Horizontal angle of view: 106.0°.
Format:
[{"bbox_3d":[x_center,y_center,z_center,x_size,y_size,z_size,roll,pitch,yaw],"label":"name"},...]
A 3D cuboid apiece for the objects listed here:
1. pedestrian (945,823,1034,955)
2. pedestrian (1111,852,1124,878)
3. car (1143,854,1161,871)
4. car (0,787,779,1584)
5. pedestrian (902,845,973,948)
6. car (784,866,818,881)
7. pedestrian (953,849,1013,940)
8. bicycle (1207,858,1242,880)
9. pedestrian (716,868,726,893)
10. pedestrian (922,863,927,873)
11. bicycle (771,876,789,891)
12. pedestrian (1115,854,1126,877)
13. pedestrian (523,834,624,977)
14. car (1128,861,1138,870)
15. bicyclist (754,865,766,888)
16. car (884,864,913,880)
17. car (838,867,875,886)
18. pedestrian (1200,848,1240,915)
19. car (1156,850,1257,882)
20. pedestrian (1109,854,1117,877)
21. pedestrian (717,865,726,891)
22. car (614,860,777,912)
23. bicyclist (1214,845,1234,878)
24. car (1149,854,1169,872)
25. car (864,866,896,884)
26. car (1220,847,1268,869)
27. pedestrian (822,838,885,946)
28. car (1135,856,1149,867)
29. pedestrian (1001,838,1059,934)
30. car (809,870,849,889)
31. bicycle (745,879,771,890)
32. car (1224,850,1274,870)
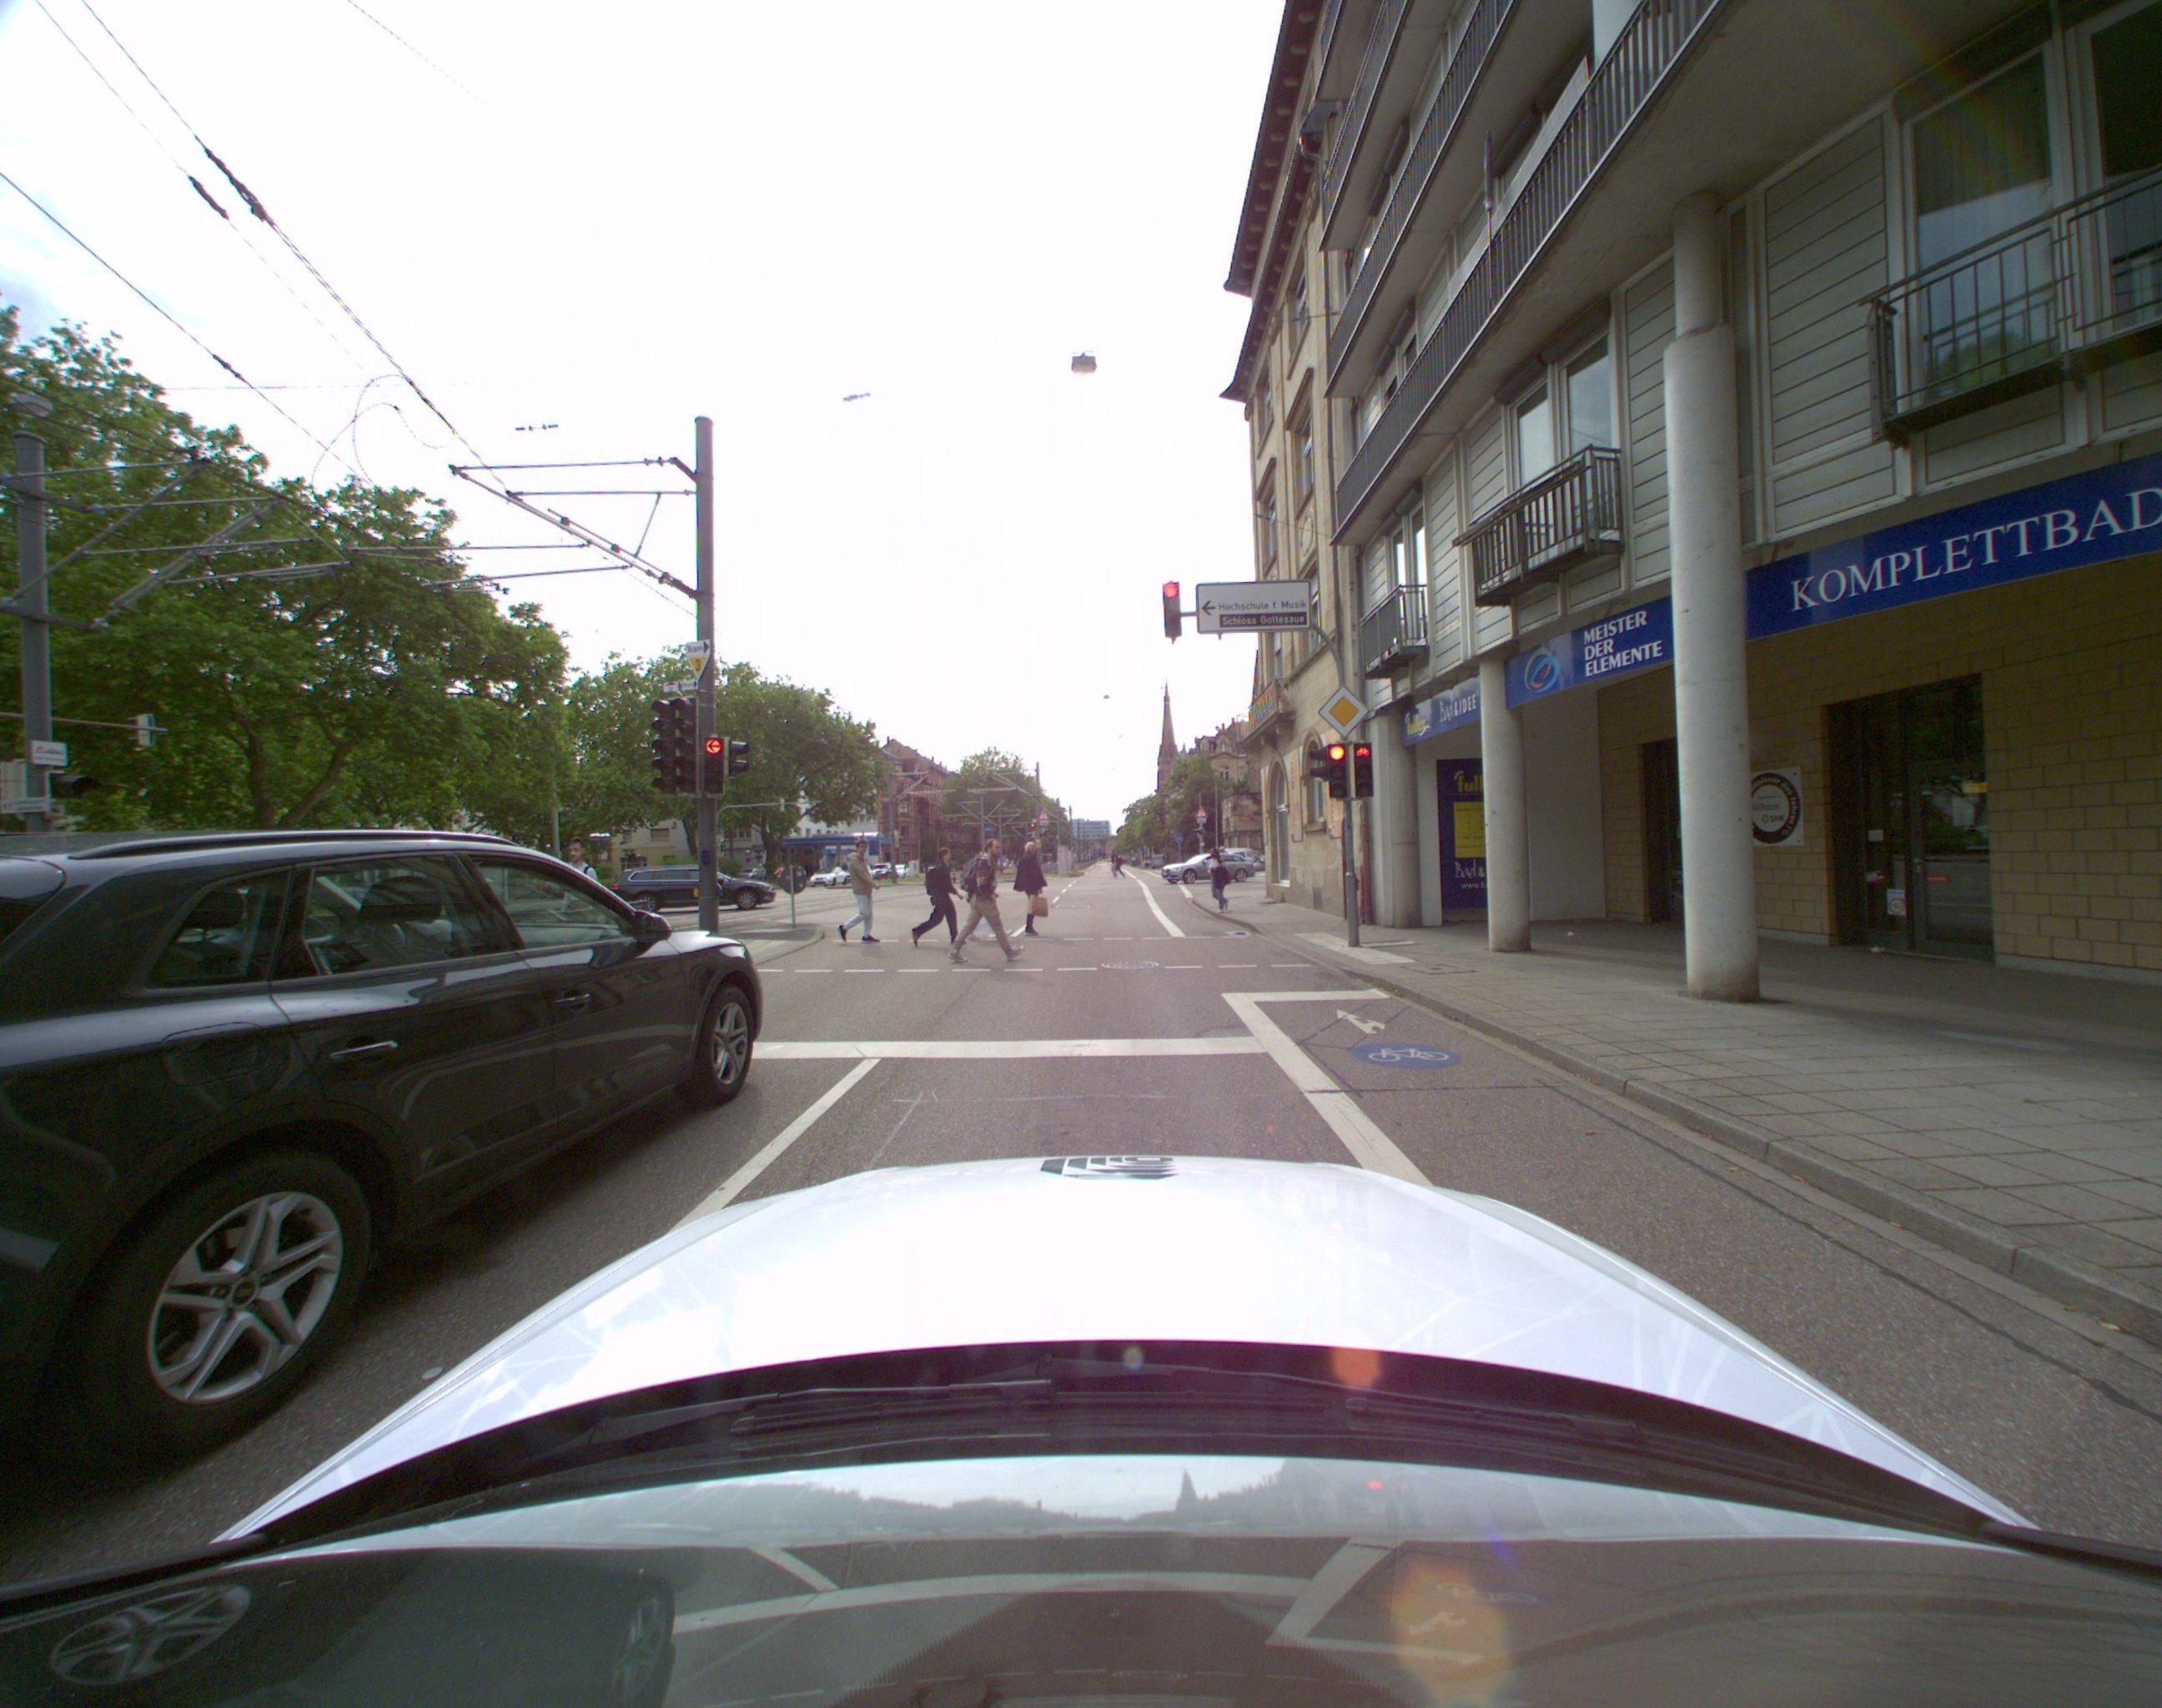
[{"bbox_3d":[-1.303,0.477,11.526,1.132,1.778,0.625,-1,-1,-16],"label":"pedestrian"},{"bbox_3d":[2.346,0.719,52.420,0.848,1.654,0.508,0,-1,-1],"label":"pedestrian"},{"bbox_3d":[8.849,1.063,101.970,1.986,2.014,4.001,0,-1,1],"label":"car"},{"bbox_3d":[-3.084,0.694,3.481,1.873,1.601,4.358,-1,0,1],"label":"car"},{"bbox_3d":[-2.400,0.688,13.658,0.620,1.652,1.003,-1,-1,39],"label":"pedestrian"},{"bbox_3d":[-28.715,1.968,83.650,1.986,1.530,4.001,0,0,2],"label":"car"},{"bbox_3d":[-1.778,0.719,14.853,0.693,1.593,0.836,-1,-1,39],"label":"pedestrian"},{"bbox_3d":[7.909,0.822,44.792,1.910,1.142,0.623,0,-1,-28],"label":"bicycle"},{"bbox_3d":[-25.082,1.841,56.728,0.370,1.784,0.555,-1,-1,33],"label":"pedestrian"},{"bbox_3d":[-22.053,1.944,114.986,0.528,1.460,0.447,0,-1,-44],"label":"pedestrian"},{"bbox_3d":[-21.419,2.063,57.933,0.520,1.017,1.937,0,-1,2],"label":"bicycle"},{"bbox_3d":[2.648,0.761,54.399,0.651,1.537,0.465,0,-1,-3],"label":"pedestrian"},{"bbox_3d":[-6.160,0.606,9.918,0.751,1.661,0.730,0,-1,1],"label":"pedestrian"},{"bbox_3d":[11.025,2.452,174.472,1.986,2.014,4.001,0,-1,2],"label":"car"},{"bbox_3d":[-22.788,1.603,57.756,0.585,1.567,0.619,0,-1,1],"label":"bicyclist"},{"bbox_3d":[-18.377,1.798,82.154,1.887,1.557,3.837,0,0,2],"label":"car"},{"bbox_3d":[-18.779,1.864,68.267,1.887,1.557,3.837,0,0,2],"label":"car"},{"bbox_3d":[3.592,0.699,21.040,0.663,1.680,0.874,-1,-1,40],"label":"pedestrian"},{"bbox_3d":[6.274,0.599,40.722,4.734,1.510,1.826,0,-1,-20],"label":"car"},{"bbox_3d":[2.152,0.767,54.872,0.544,1.537,0.465,0,-1,-3],"label":"pedestrian"},{"bbox_3d":[-25.030,1.673,56.717,0.370,1.784,0.452,-1,-1,34],"label":"pedestrian"},{"bbox_3d":[-11.881,0.947,25.441,4.448,1.510,1.825,0,-1,-21],"label":"car"},{"bbox_3d":[7.873,0.408,44.790,0.970,1.819,0.527,0,-1,-27],"label":"bicyclist"},{"bbox_3d":[8.796,0.992,92.531,1.986,2.014,4.001,0,-1,1],"label":"car"},{"bbox_3d":[-18.553,1.915,75.245,1.887,1.557,3.837,0,0,2],"label":"car"},{"bbox_3d":[14.055,0.339,70.480,3.785,1.904,2.001,0,-1,1],"label":"car"},{"bbox_3d":[-3.969,0.644,14.194,1.015,1.813,0.580,0,-1,-22],"label":"pedestrian"},{"bbox_3d":[9.734,1.199,130.782,1.986,1.607,4.165,-3,-1,1],"label":"car"},{"bbox_3d":[-0.980,0.602,15.621,0.906,1.784,0.651,-1,-1,39],"label":"pedestrian"},{"bbox_3d":[-19.105,1.914,61.899,1.628,1.325,4.001,0,0,2],"label":"car"},{"bbox_3d":[-22.821,2.170,57.555,1.665,0.773,0.659,-1,-1,22],"label":"bicycle"},{"bbox_3d":[13.786,0.512,67.071,3.785,1.601,2.001,0,-1,1],"label":"car"}]
